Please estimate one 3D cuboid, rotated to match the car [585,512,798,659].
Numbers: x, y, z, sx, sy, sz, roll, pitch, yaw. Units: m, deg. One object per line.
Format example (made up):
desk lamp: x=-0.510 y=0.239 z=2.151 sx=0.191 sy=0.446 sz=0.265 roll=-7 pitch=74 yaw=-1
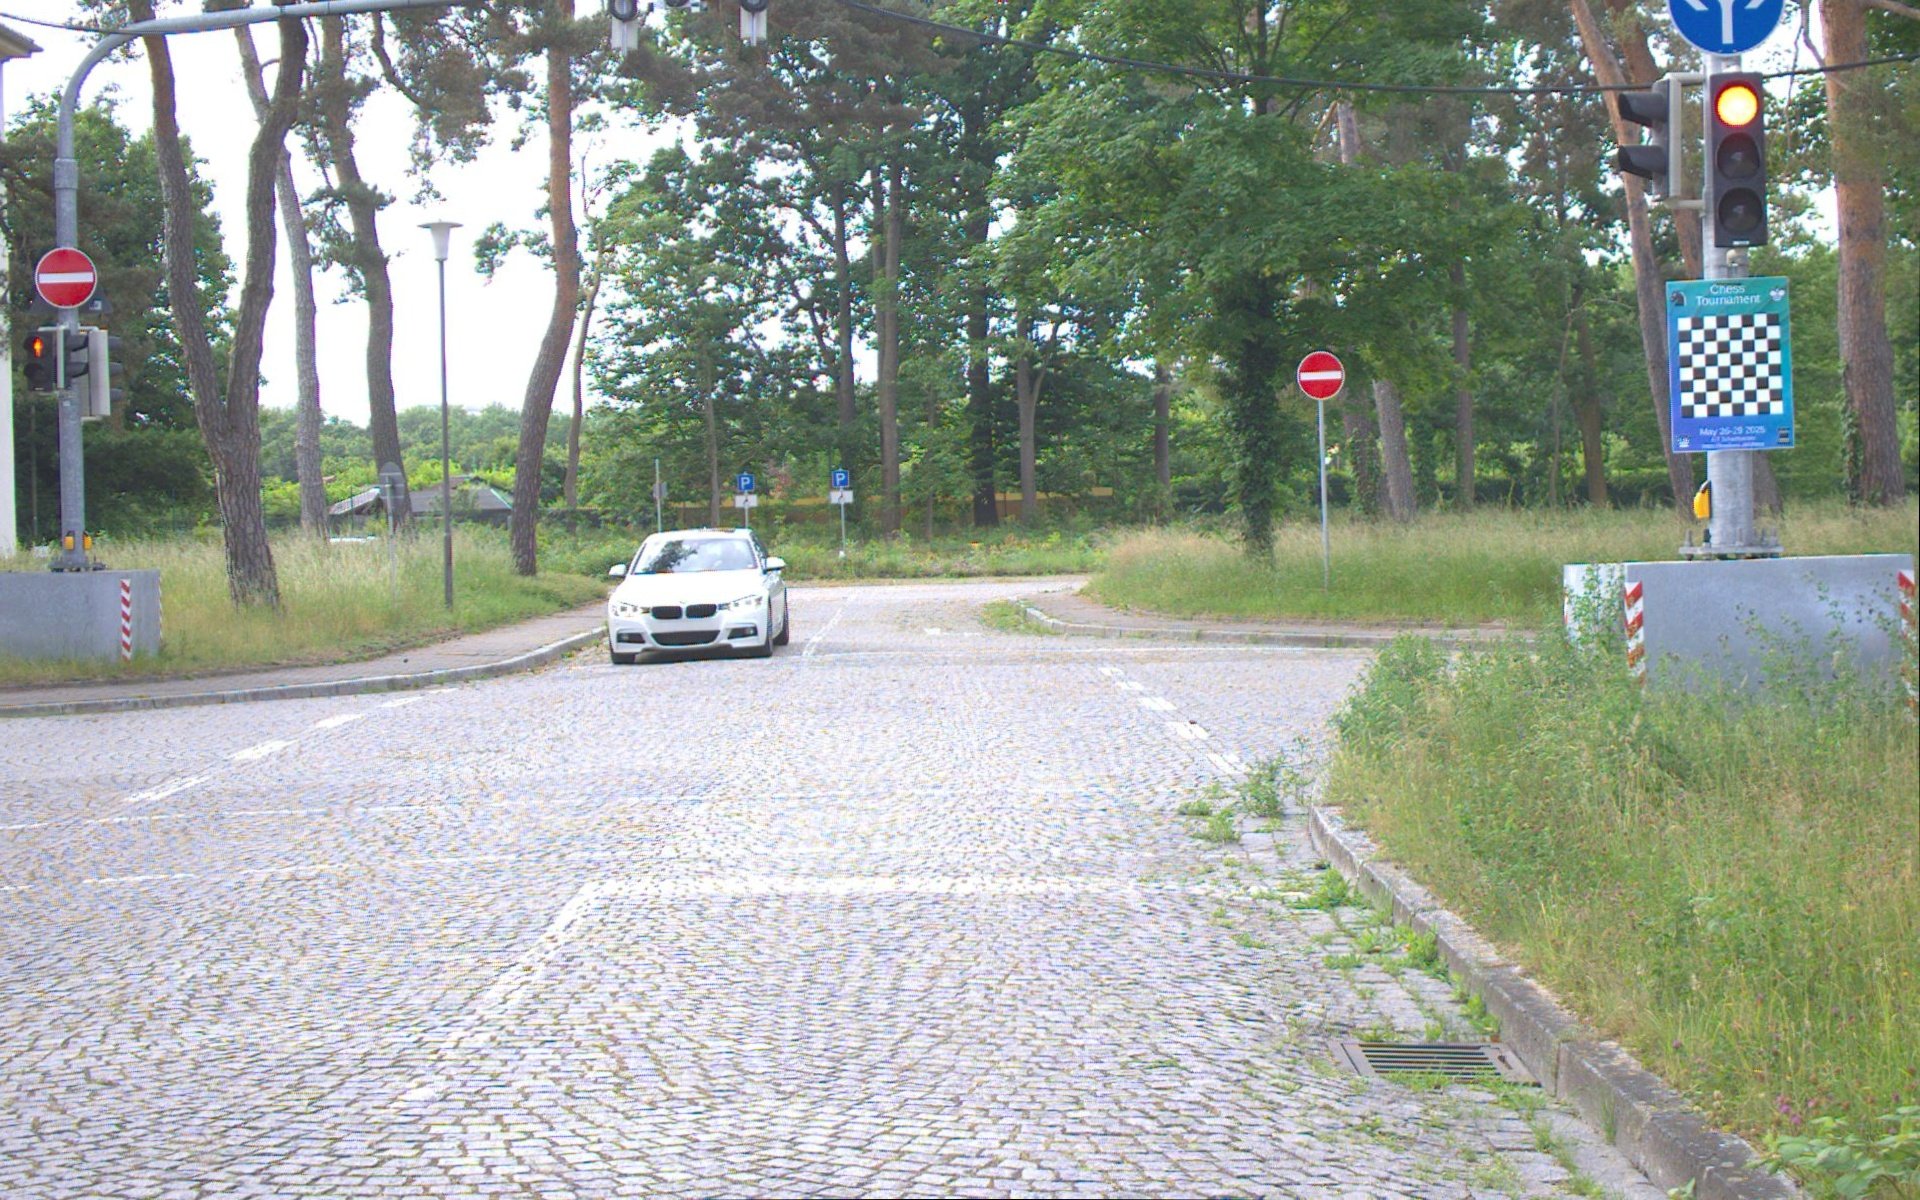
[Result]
car: x=-3.017 y=-0.213 z=39.472 sx=1.773 sy=1.433 sz=4.218 roll=-4 pitch=2 yaw=4
